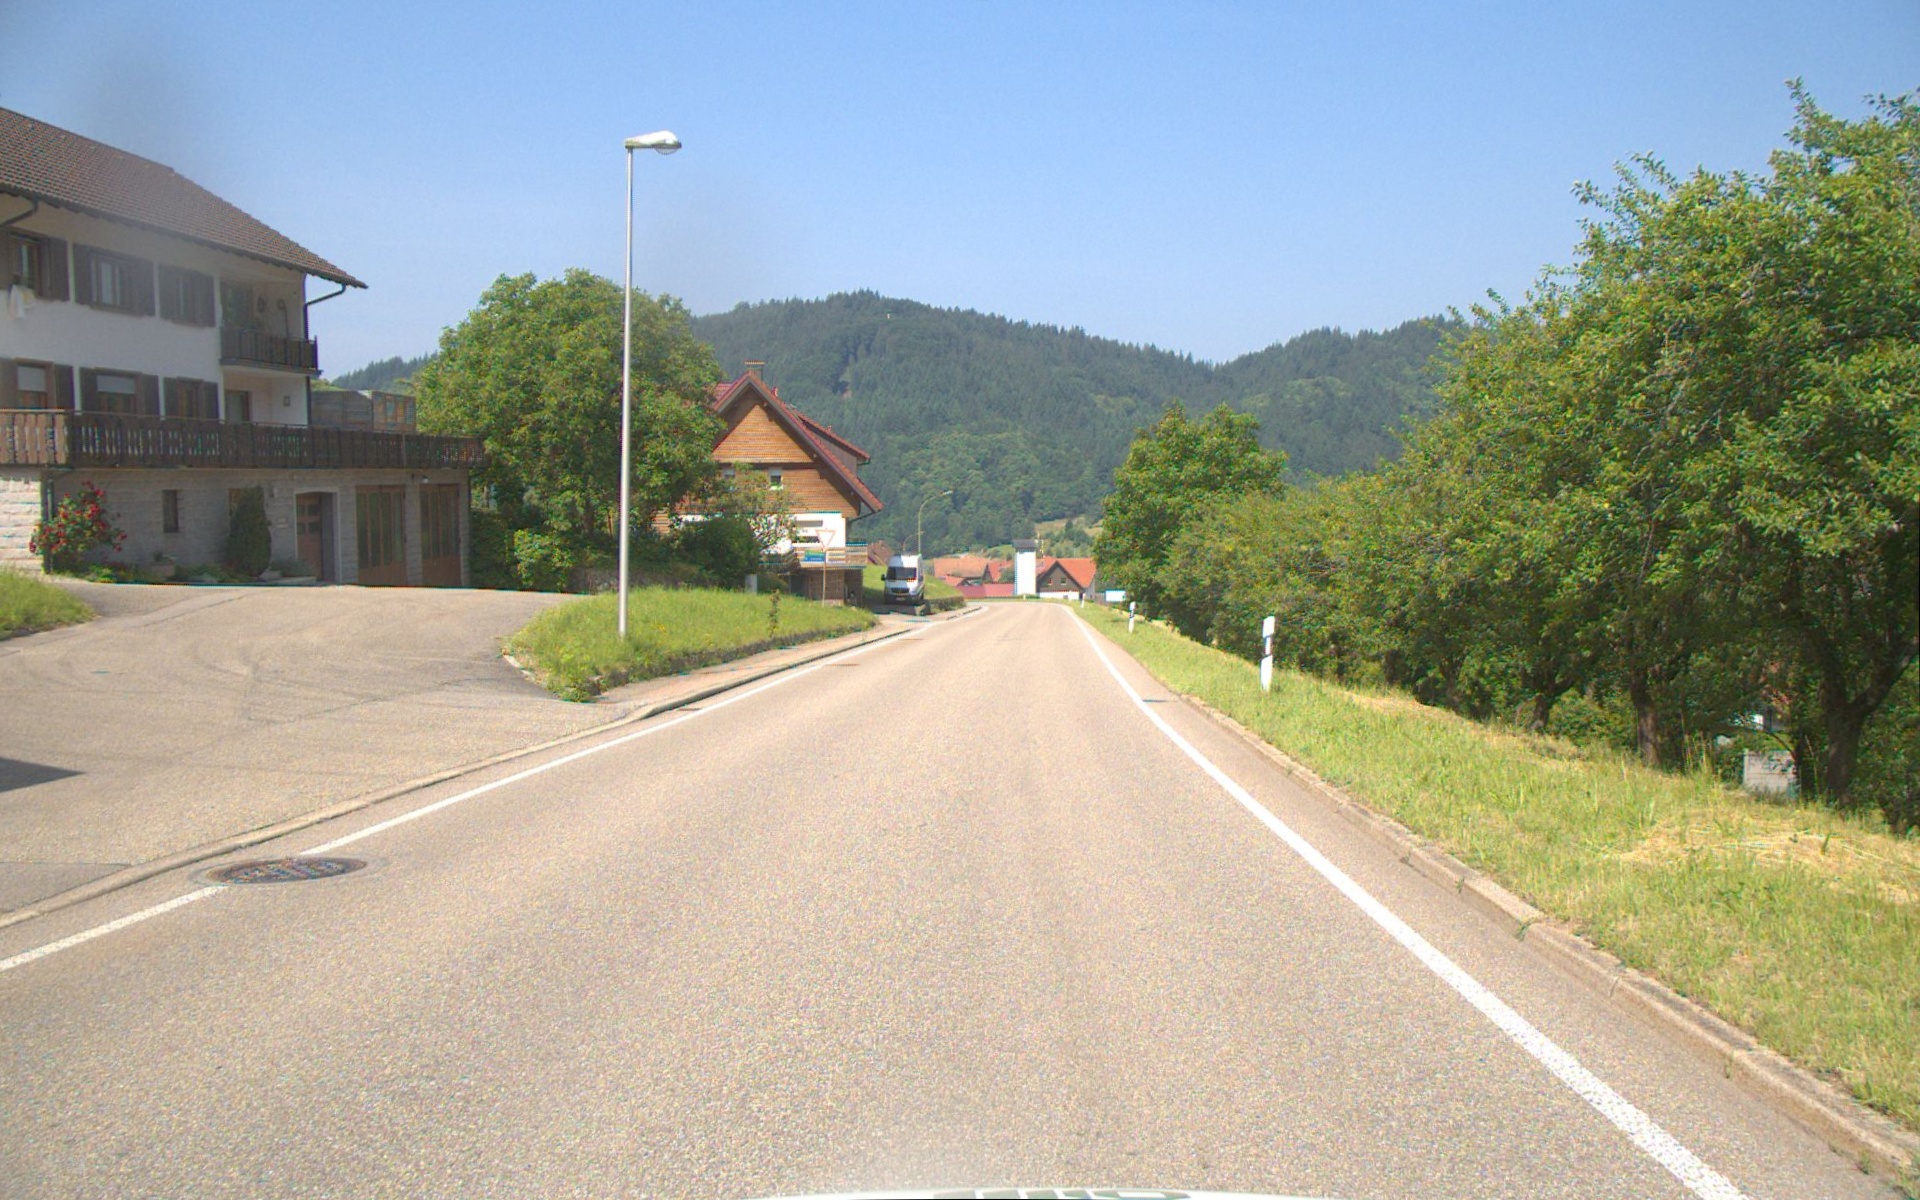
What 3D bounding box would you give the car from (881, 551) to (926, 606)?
[{"bbox_3d":[-3.173,-1.279,94.757,2.024,2.734,7.179,-1,4,2],"label":"car"}]
